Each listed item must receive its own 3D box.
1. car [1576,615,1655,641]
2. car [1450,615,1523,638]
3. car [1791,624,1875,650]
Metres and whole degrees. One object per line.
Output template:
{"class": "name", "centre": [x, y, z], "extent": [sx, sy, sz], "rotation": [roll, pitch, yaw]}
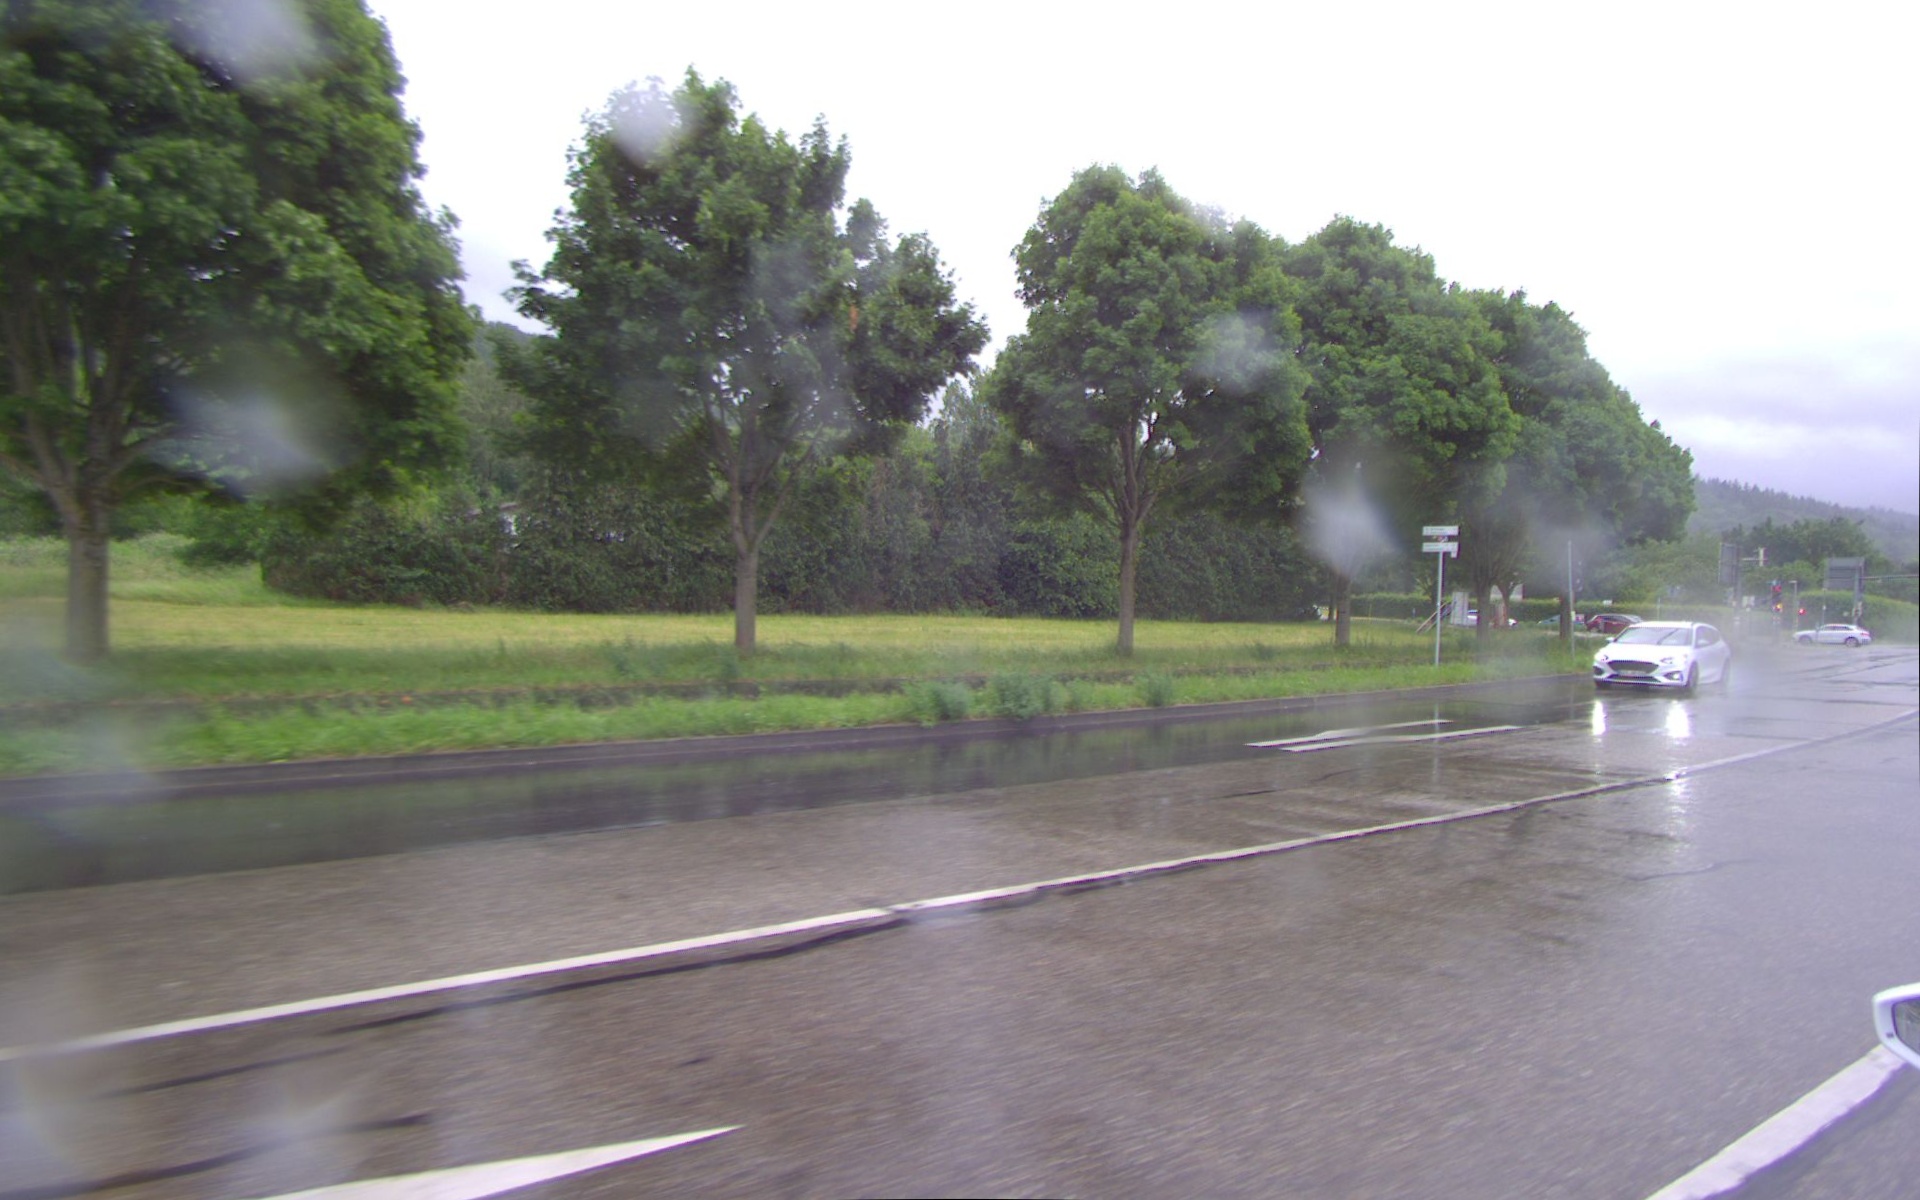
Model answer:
{"class": "car", "centre": [46.442, 1.977, 71.264], "extent": [1.714, 1.601, 4.348], "rotation": [1, 1, -34]}
{"class": "car", "centre": [41.182, 2.079, 78.666], "extent": [1.781, 1.574, 4.851], "rotation": [1, 0, -34]}
{"class": "car", "centre": [63.483, 2.684, 73.093], "extent": [1.718, 1.601, 4.338], "rotation": [1, 1, -40]}
